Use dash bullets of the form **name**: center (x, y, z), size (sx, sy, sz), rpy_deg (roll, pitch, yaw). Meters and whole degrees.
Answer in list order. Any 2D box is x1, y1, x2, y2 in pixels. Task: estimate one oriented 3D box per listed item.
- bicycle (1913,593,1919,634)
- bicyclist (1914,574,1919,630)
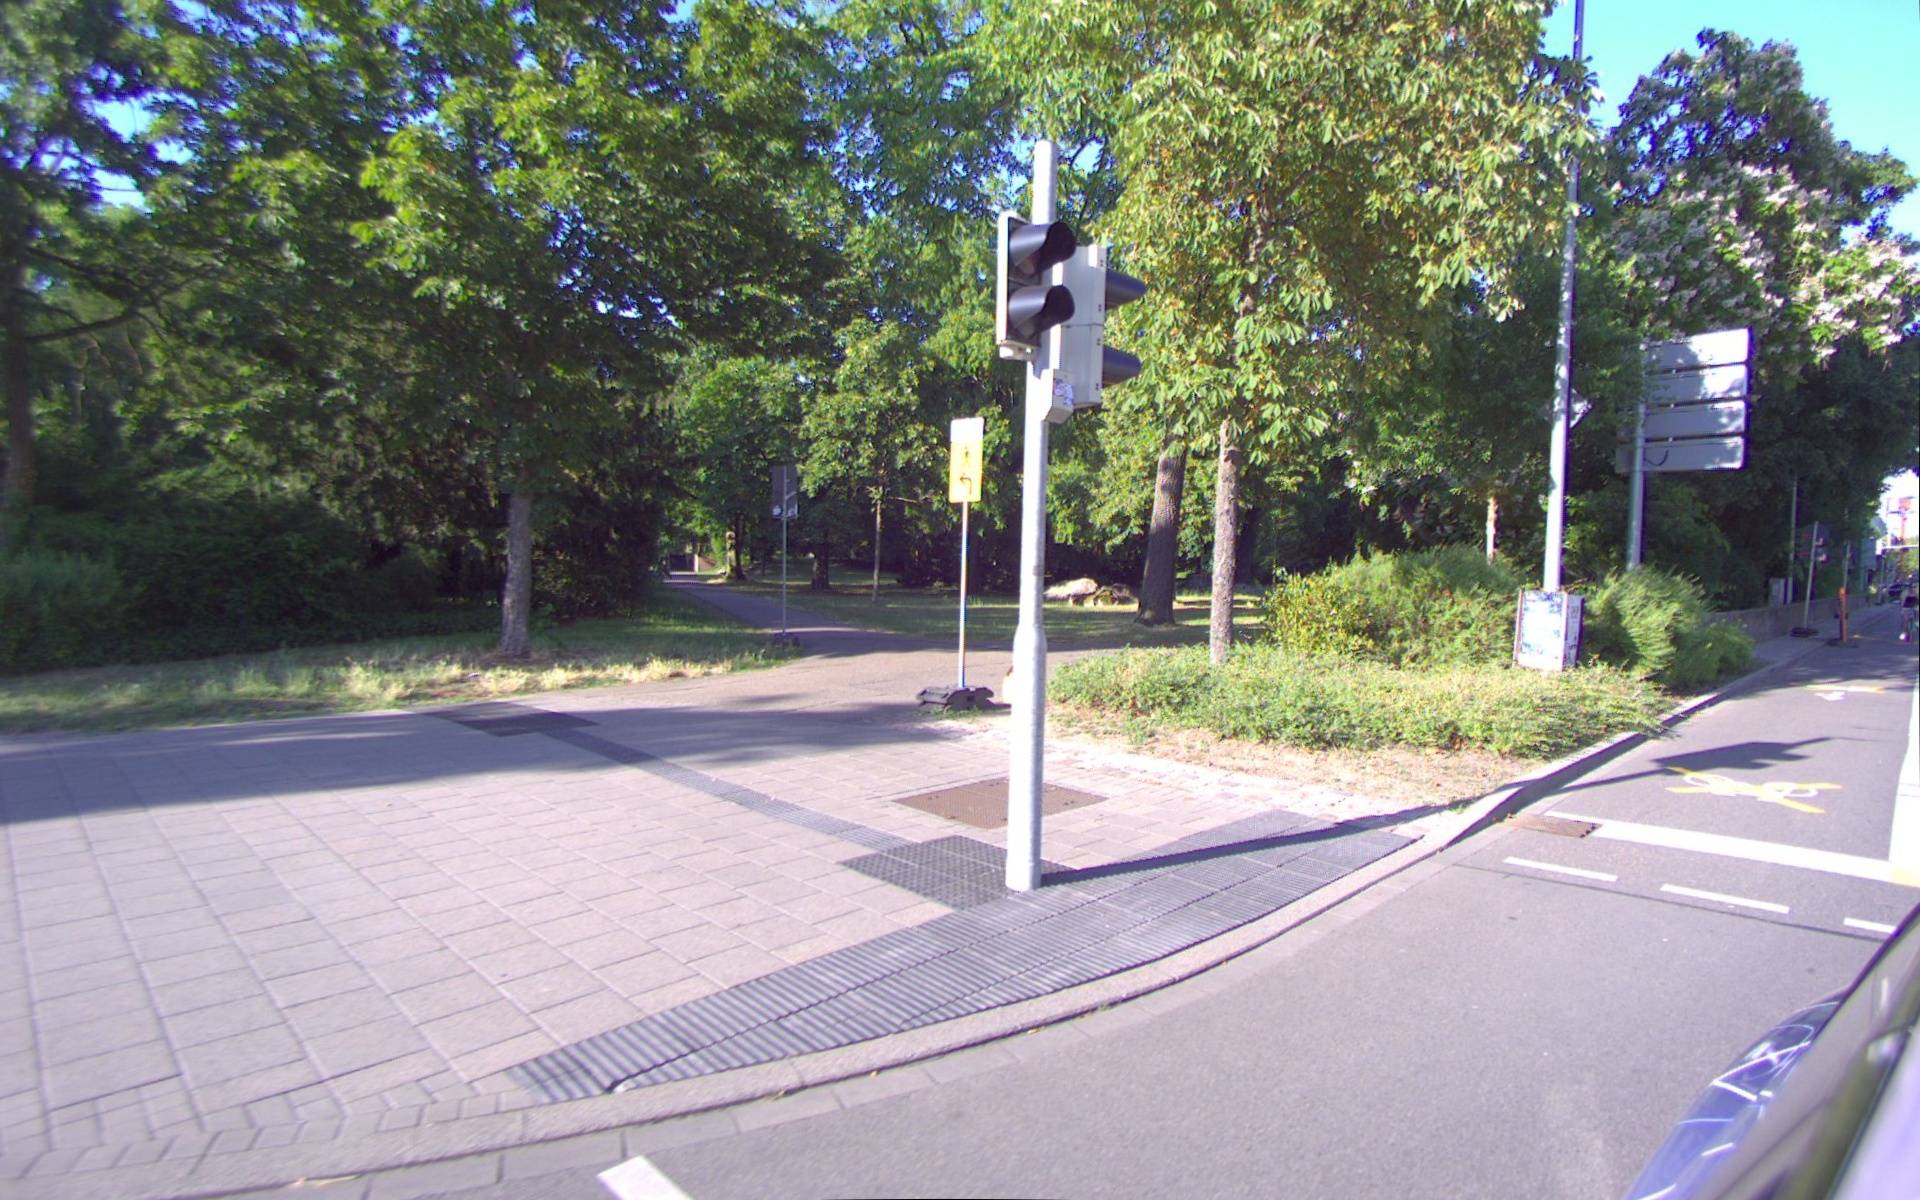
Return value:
- **bicycle**: center (25.116, 0.350, 26.248), size (0.505, 1.037, 1.481), rpy_deg (3, 3, 44)
- **bicyclist**: center (25.125, 0.059, 26.230), size (0.515, 1.424, 0.792), rpy_deg (3, 3, 44)
